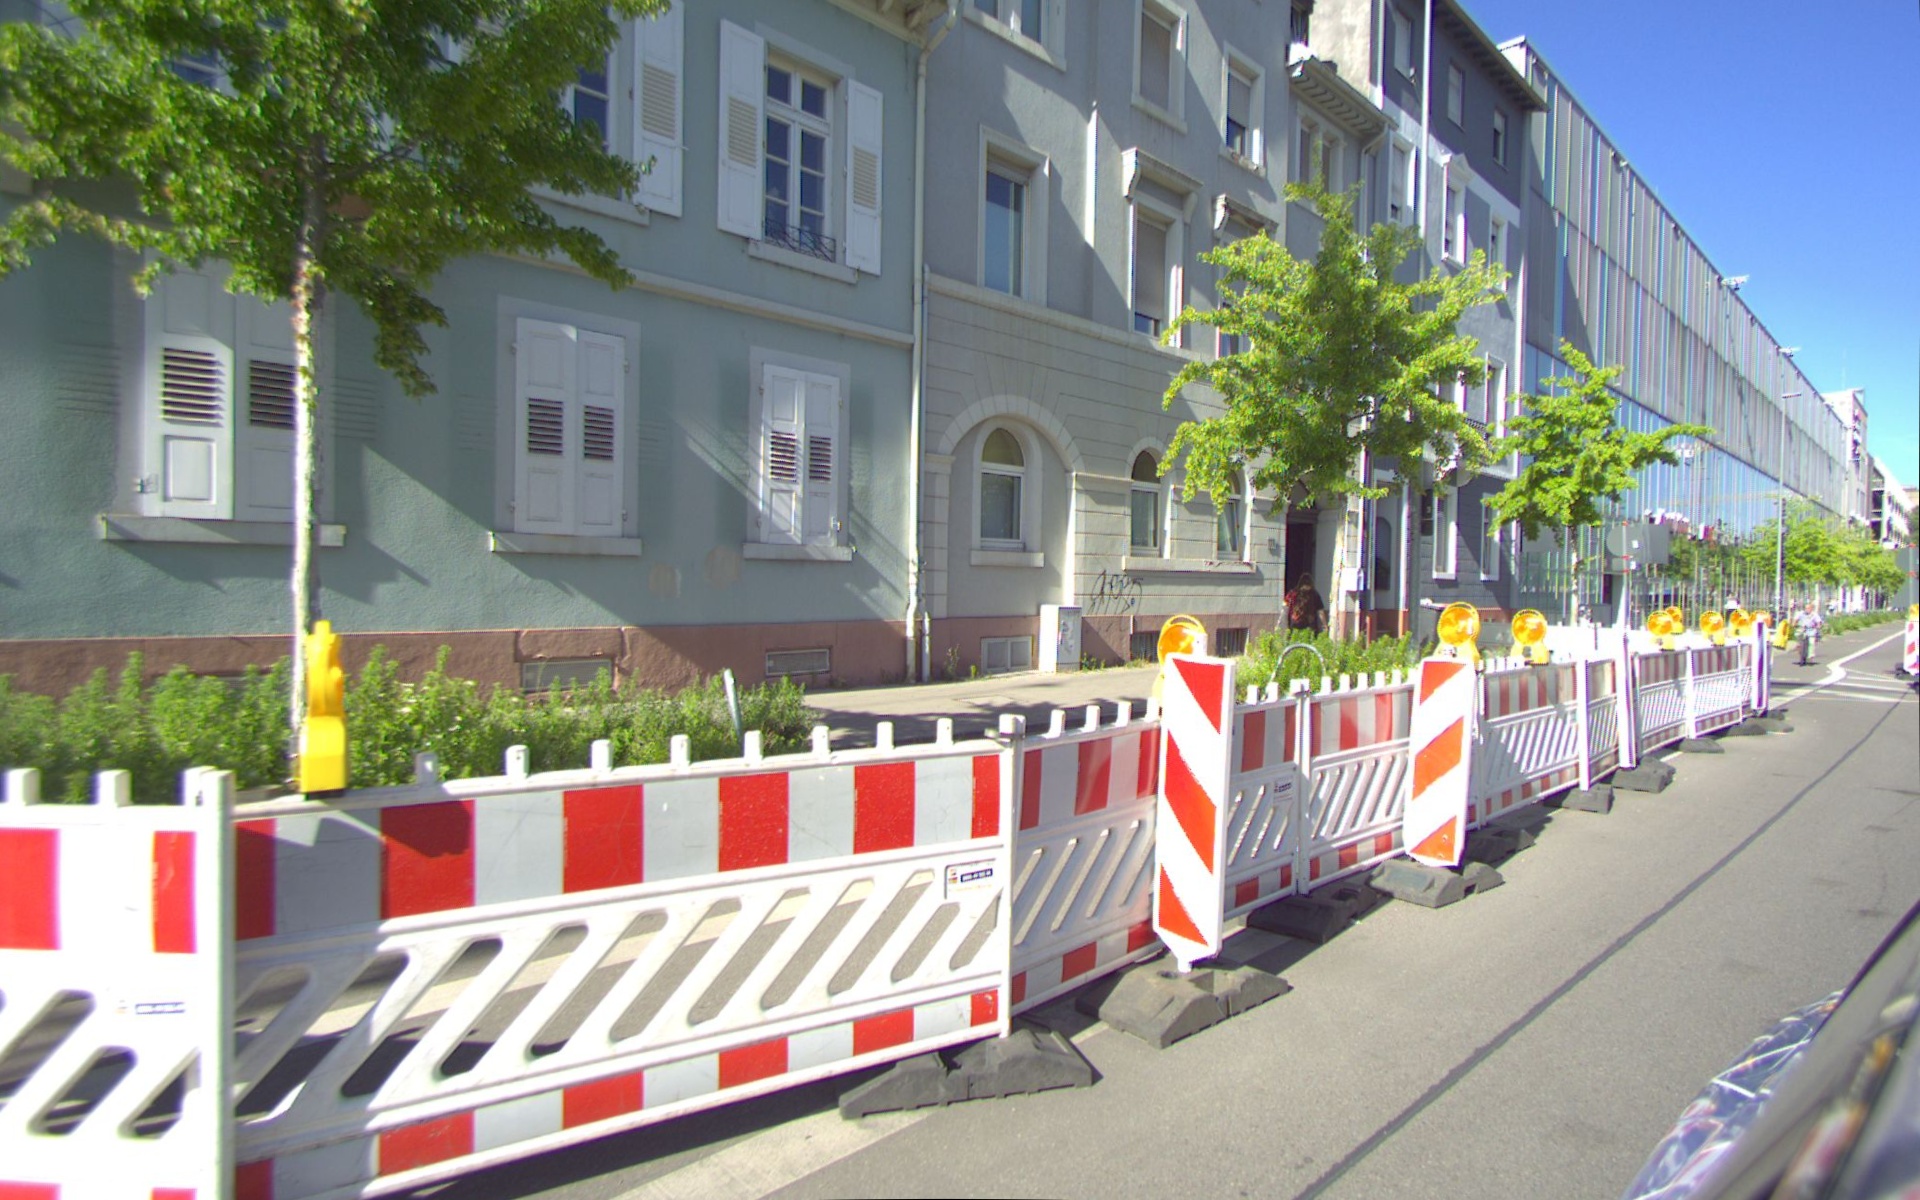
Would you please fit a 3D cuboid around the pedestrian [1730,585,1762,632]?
[{"bbox_3d":[34.056,0.362,43.845,0.881,1.947,0.876,-3,5,-44],"label":"pedestrian"}]

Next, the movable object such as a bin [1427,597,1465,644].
[{"bbox_3d":[11.605,0.487,24.181,0.692,1.096,0.604,0,0,-43],"label":"movable object such as a bin"}]

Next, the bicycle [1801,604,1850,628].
[{"bbox_3d":[42.754,0.779,50.026,1.727,1.075,0.462,4,2,32],"label":"bicycle"}]

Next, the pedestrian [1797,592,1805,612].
[{"bbox_3d":[66.596,0.140,80.126,0.282,1.620,0.449,0,0,-43],"label":"pedestrian"}]

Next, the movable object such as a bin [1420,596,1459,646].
[{"bbox_3d":[11.135,0.472,23.505,0.692,1.122,0.589,0,0,-43],"label":"movable object such as a bin"}]

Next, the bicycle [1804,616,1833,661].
[{"bbox_3d":[24.492,1.079,28.861,0.608,1.165,1.958,0,0,41],"label":"bicycle"}]

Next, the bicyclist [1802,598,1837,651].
[{"bbox_3d":[24.475,0.684,28.806,0.753,1.480,0.578,0,1,42],"label":"bicyclist"}]

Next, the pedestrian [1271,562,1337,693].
[{"bbox_3d":[5.307,0.403,15.612,0.790,1.953,0.761,0,0,34],"label":"pedestrian"}]
